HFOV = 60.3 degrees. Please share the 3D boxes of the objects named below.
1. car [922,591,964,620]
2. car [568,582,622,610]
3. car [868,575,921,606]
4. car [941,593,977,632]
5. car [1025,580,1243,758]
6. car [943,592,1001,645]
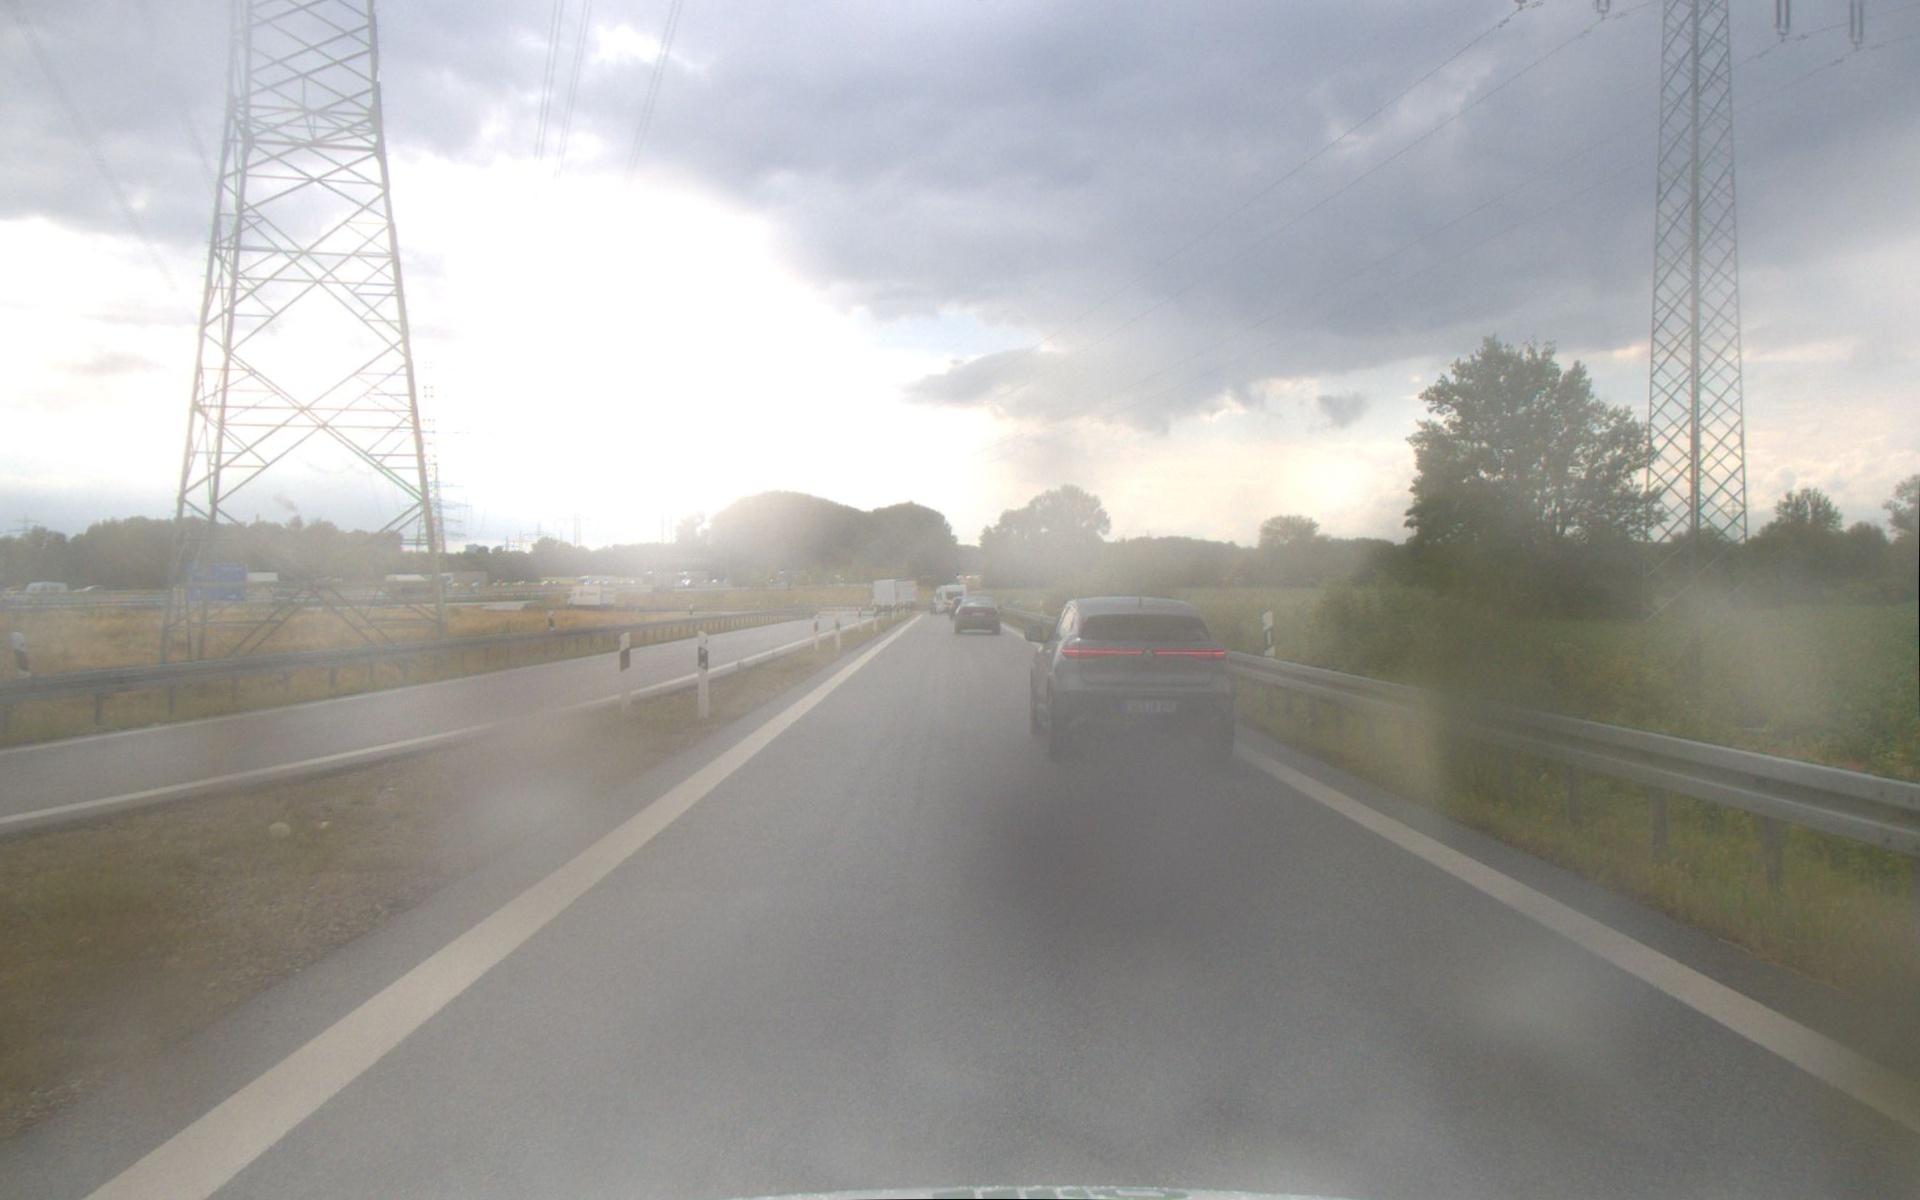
[{"bbox_3d":[-1.561,0.492,148.737,2.316,2.346,5.101,-1,3,-19],"label":"car"},{"bbox_3d":[-50.059,-0.543,226.715,3.366,3.673,8.904,-1,0,-42],"label":"car"},{"bbox_3d":[-6.978,-1.069,174.896,3.096,3.002,7.153,-1,3,-25],"label":"car"},{"bbox_3d":[-0.077,0.811,110.032,2.303,2.346,5.129,0,3,-1],"label":"car"},{"bbox_3d":[1.677,0.608,17.243,1.952,1.594,4.150,1,1,2],"label":"car"},{"bbox_3d":[0.468,0.737,69.025,2.079,2.053,5.531,-1,1,-3],"label":"car"}]
